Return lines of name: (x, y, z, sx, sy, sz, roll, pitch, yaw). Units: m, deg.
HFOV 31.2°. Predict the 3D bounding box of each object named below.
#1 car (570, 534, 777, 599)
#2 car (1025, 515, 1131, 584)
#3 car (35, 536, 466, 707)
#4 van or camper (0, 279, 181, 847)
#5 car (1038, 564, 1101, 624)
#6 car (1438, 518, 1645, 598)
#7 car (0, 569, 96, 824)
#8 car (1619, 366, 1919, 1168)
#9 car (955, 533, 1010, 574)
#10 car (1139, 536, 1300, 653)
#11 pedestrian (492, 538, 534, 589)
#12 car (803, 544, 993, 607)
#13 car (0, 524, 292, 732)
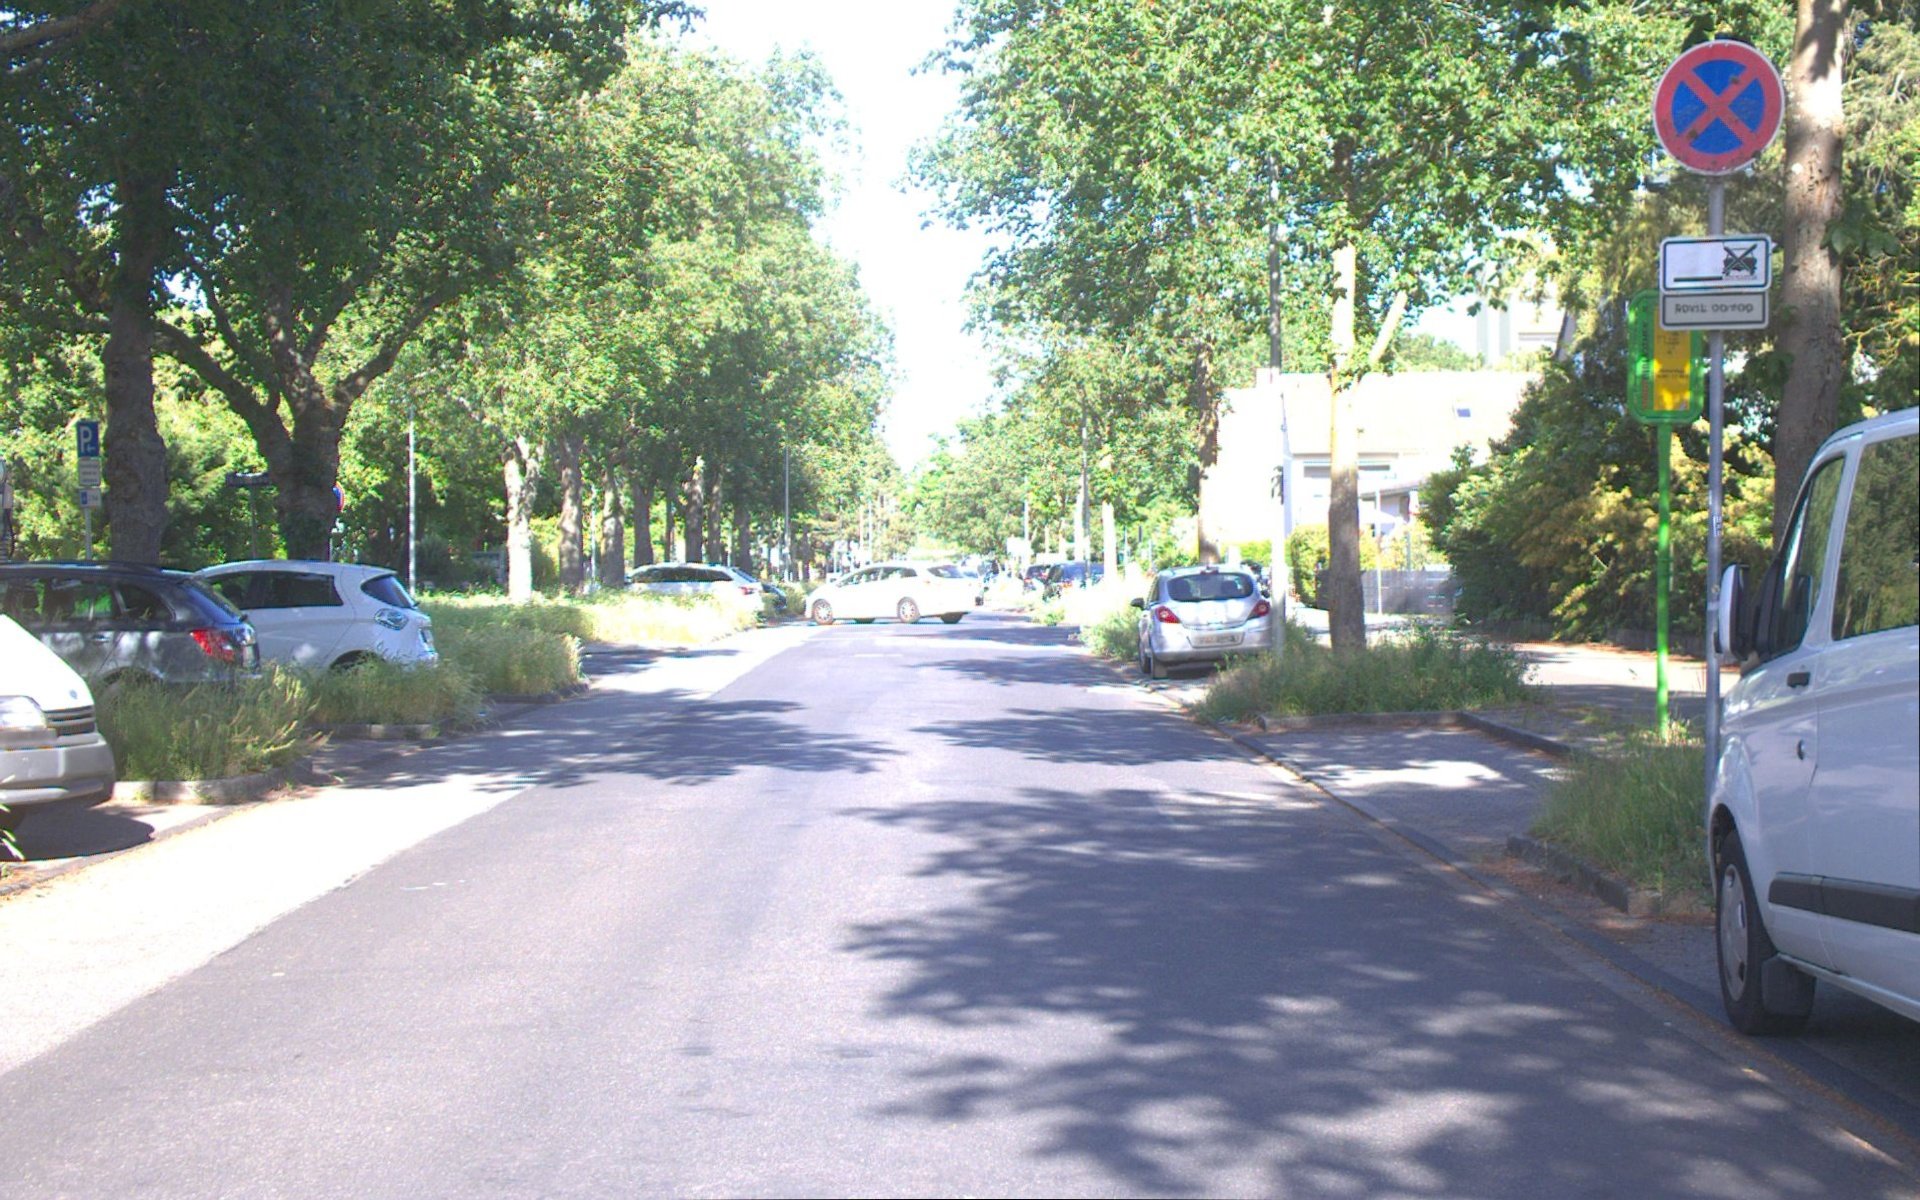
car: (-6.730, -0.803, 81.123, 4.671, 1.498, 2.000, 0, 1, 1)
car: (2.956, -1.276, 87.060, 1.993, 1.616, 4.382, 3, 1, -6)
car: (-7.136, 0.196, 34.862, 3.987, 1.655, 1.967, 0, 1, -1)
van or camper: (-7.291, -0.326, 18.119, 5.776, 2.795, 2.000, 3, 0, 2)
car: (3.142, -0.193, 99.163, 1.610, 1.616, 4.382, 3, 1, 0)
car: (12.286, -0.894, 72.780, 3.986, 1.634, 1.777, -1, 1, -6)
car: (-7.538, 0.470, 21.004, 3.987, 1.453, 2.000, 3, 0, -2)
car: (3.400, 0.446, 9.362, 1.993, 2.007, 5.197, 3, 1, -1)
car: (0.884, -1.869, 138.445, 1.993, 1.503, 3.659, 3, 1, -2)
car: (3.591, -0.076, 47.000, 1.994, 1.505, 3.999, -1, 0, 7)
pedestrian: (-16.230, -1.333, 124.880, 1.224, 1.821, 1.551, 1, 0, -17)
car: (-1.495, -0.603, 82.212, 4.220, 1.450, 1.996, 1, 1, 37)
car: (-7.811, 0.171, 28.840, 3.987, 1.583, 2.000, 3, 0, -1)
